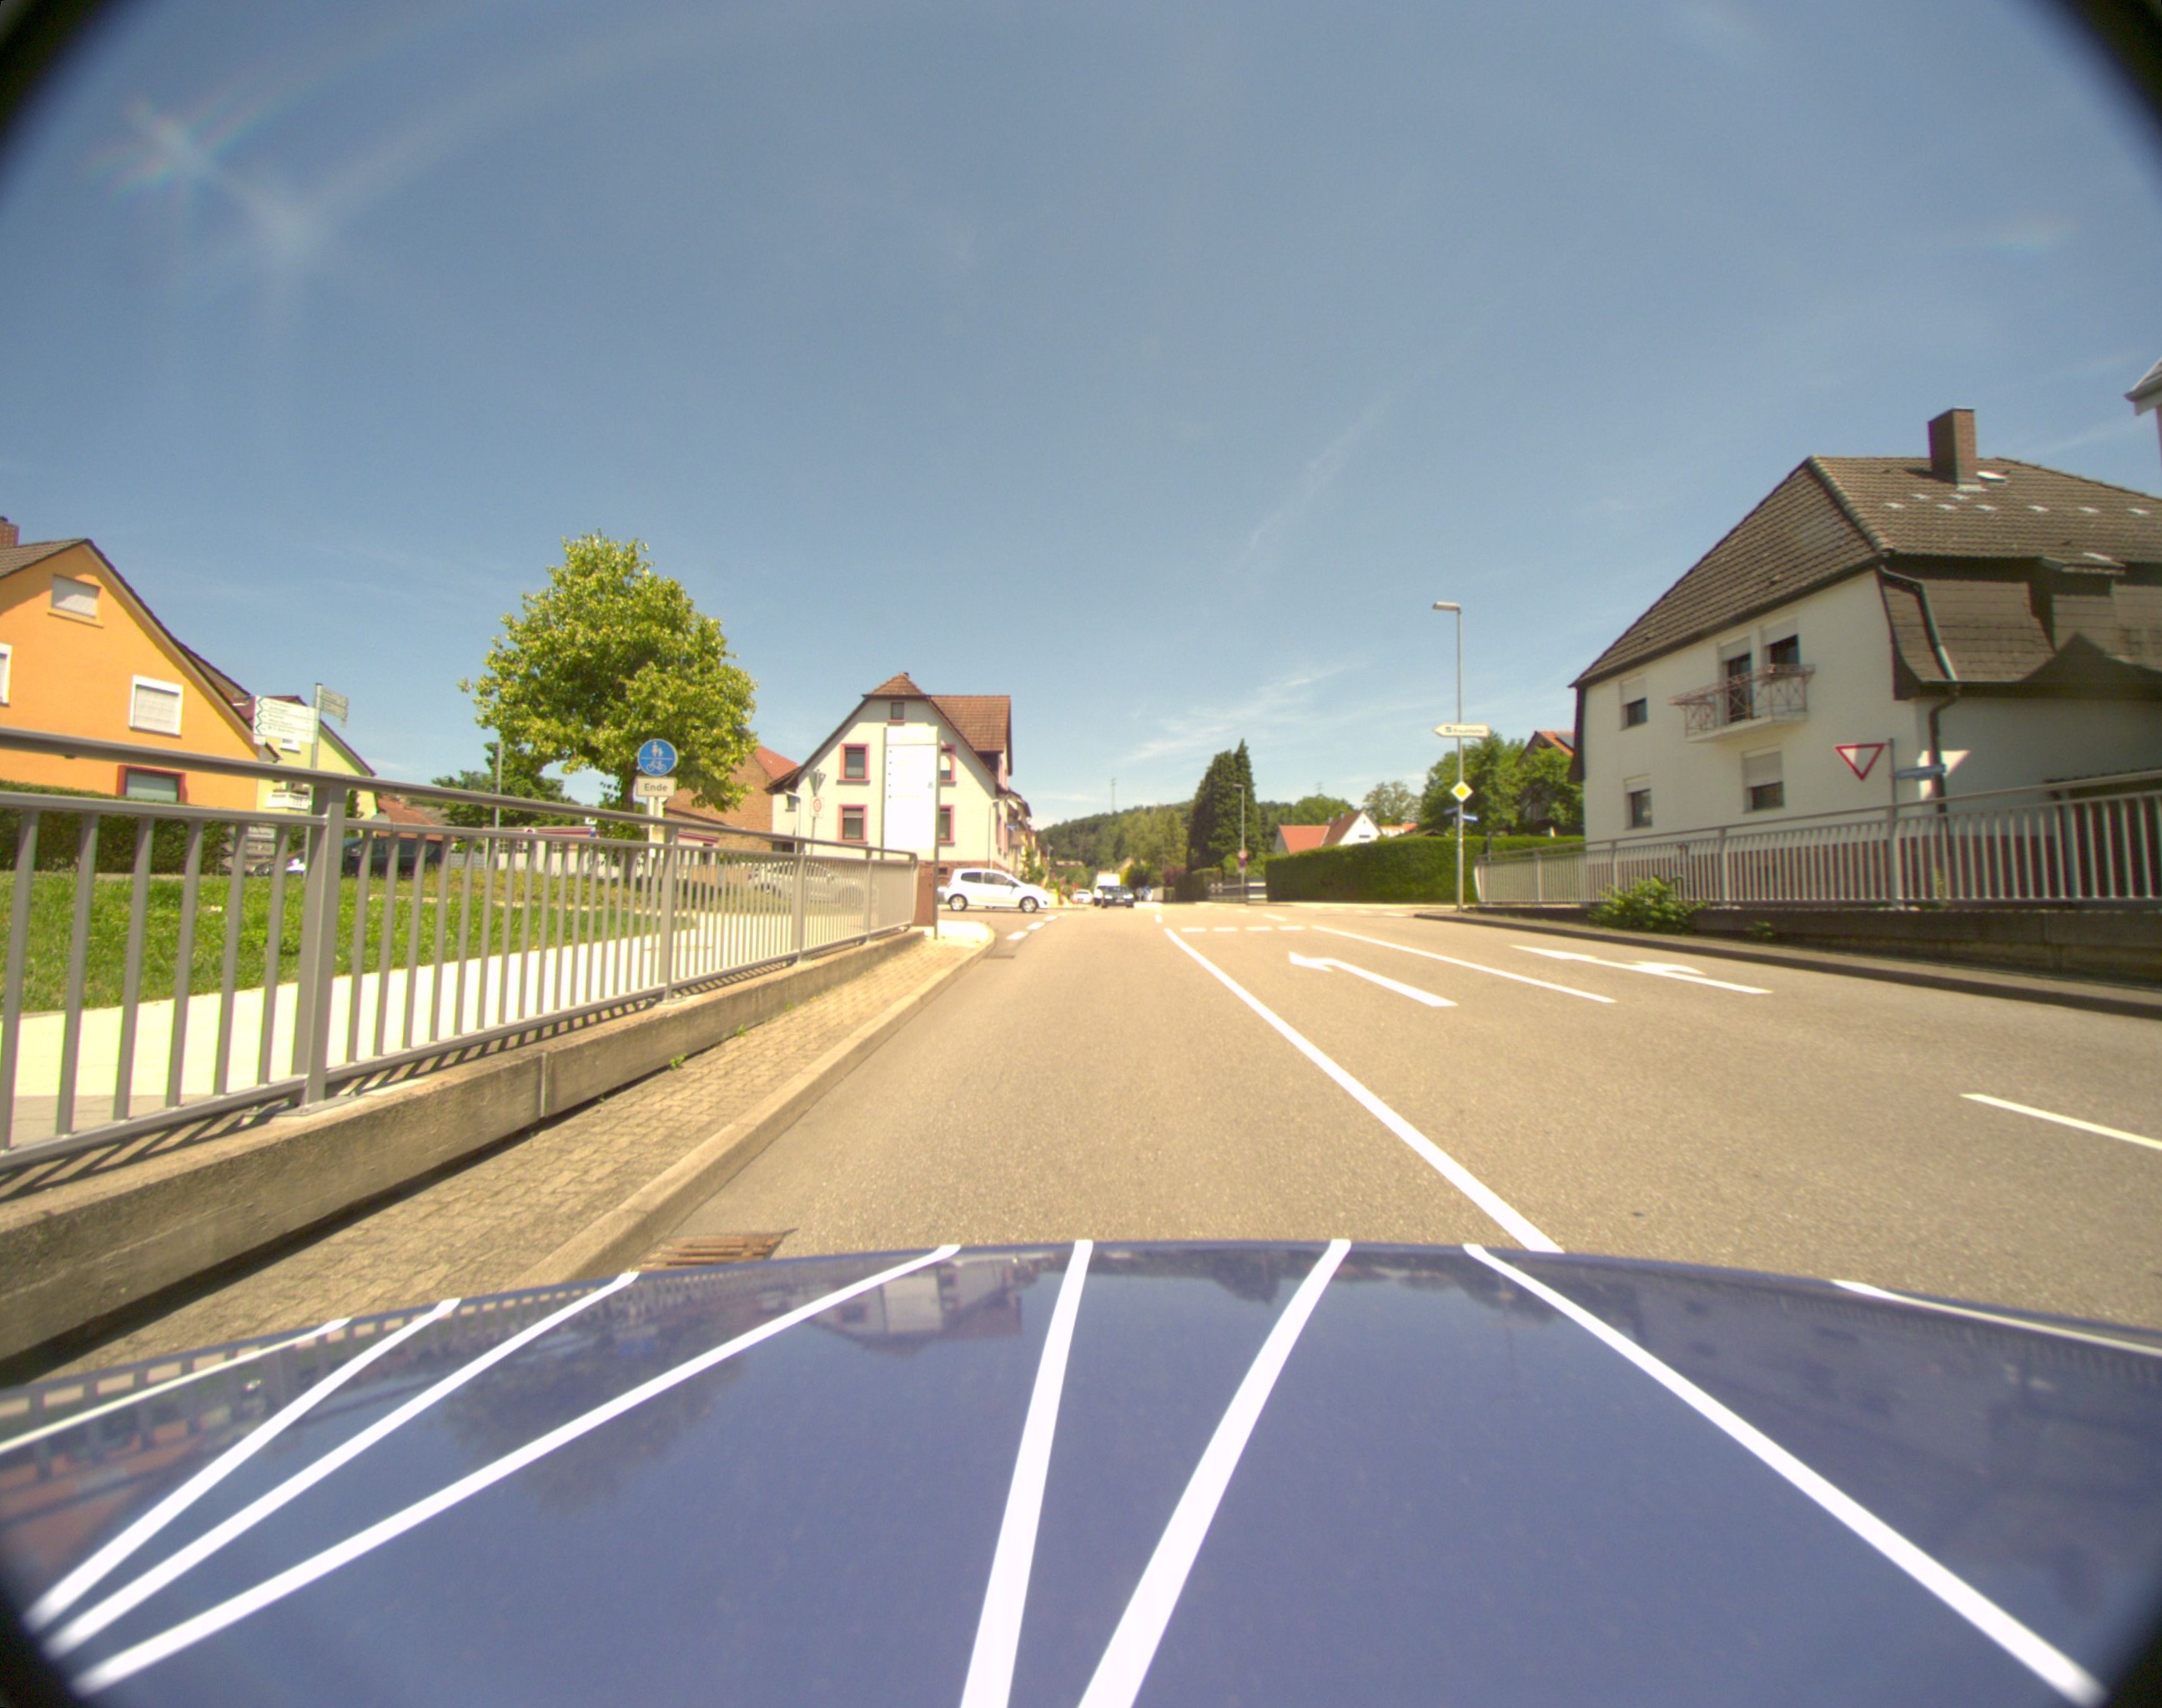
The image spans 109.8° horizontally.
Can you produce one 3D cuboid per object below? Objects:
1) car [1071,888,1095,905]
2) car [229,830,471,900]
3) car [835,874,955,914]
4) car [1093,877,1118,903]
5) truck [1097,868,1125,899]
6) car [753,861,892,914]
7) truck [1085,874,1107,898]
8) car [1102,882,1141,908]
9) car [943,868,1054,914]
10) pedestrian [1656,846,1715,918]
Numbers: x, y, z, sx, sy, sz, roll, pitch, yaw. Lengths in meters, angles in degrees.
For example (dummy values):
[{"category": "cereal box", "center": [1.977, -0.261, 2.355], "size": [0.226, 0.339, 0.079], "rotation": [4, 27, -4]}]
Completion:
[{"category": "car", "center": [0.254, 4.254, 76.311], "size": [1.998, 1.509, 4.148], "rotation": [4, -3, 4]}, {"category": "car", "center": [-18.568, 0.372, 19.622], "size": [1.866, 1.579, 4.162], "rotation": [-1, -3, 9]}, {"category": "car", "center": [-6.871, 1.511, 28.495], "size": [4.157, 1.295, 1.911], "rotation": [3, -3, -10]}, {"category": "car", "center": [2.005, 3.007, 63.563], "size": [1.998, 2.001, 4.550], "rotation": [-2, -2, 1]}, {"category": "truck", "center": [3.512, 3.593, 91.233], "size": [3.149, 3.464, 8.277], "rotation": [-1, -3, 1]}, {"category": "car", "center": [-8.508, 1.130, 25.245], "size": [4.130, 1.526, 1.773], "rotation": [3, -2, -18]}, {"category": "truck", "center": [2.279, 4.942, 116.005], "size": [3.149, 3.464, 8.276], "rotation": [-1, -3, 0]}, {"category": "car", "center": [2.354, 2.443, 44.878], "size": [1.864, 1.440, 4.001], "rotation": [1, -4, -3]}, {"category": "car", "center": [-2.834, 1.283, 26.319], "size": [3.681, 1.469, 1.775], "rotation": [1, -2, -5]}, {"category": "pedestrian", "center": [14.968, 0.685, 18.842], "size": [0.729, 1.719, 0.856], "rotation": [-1, 0, -2]}]
